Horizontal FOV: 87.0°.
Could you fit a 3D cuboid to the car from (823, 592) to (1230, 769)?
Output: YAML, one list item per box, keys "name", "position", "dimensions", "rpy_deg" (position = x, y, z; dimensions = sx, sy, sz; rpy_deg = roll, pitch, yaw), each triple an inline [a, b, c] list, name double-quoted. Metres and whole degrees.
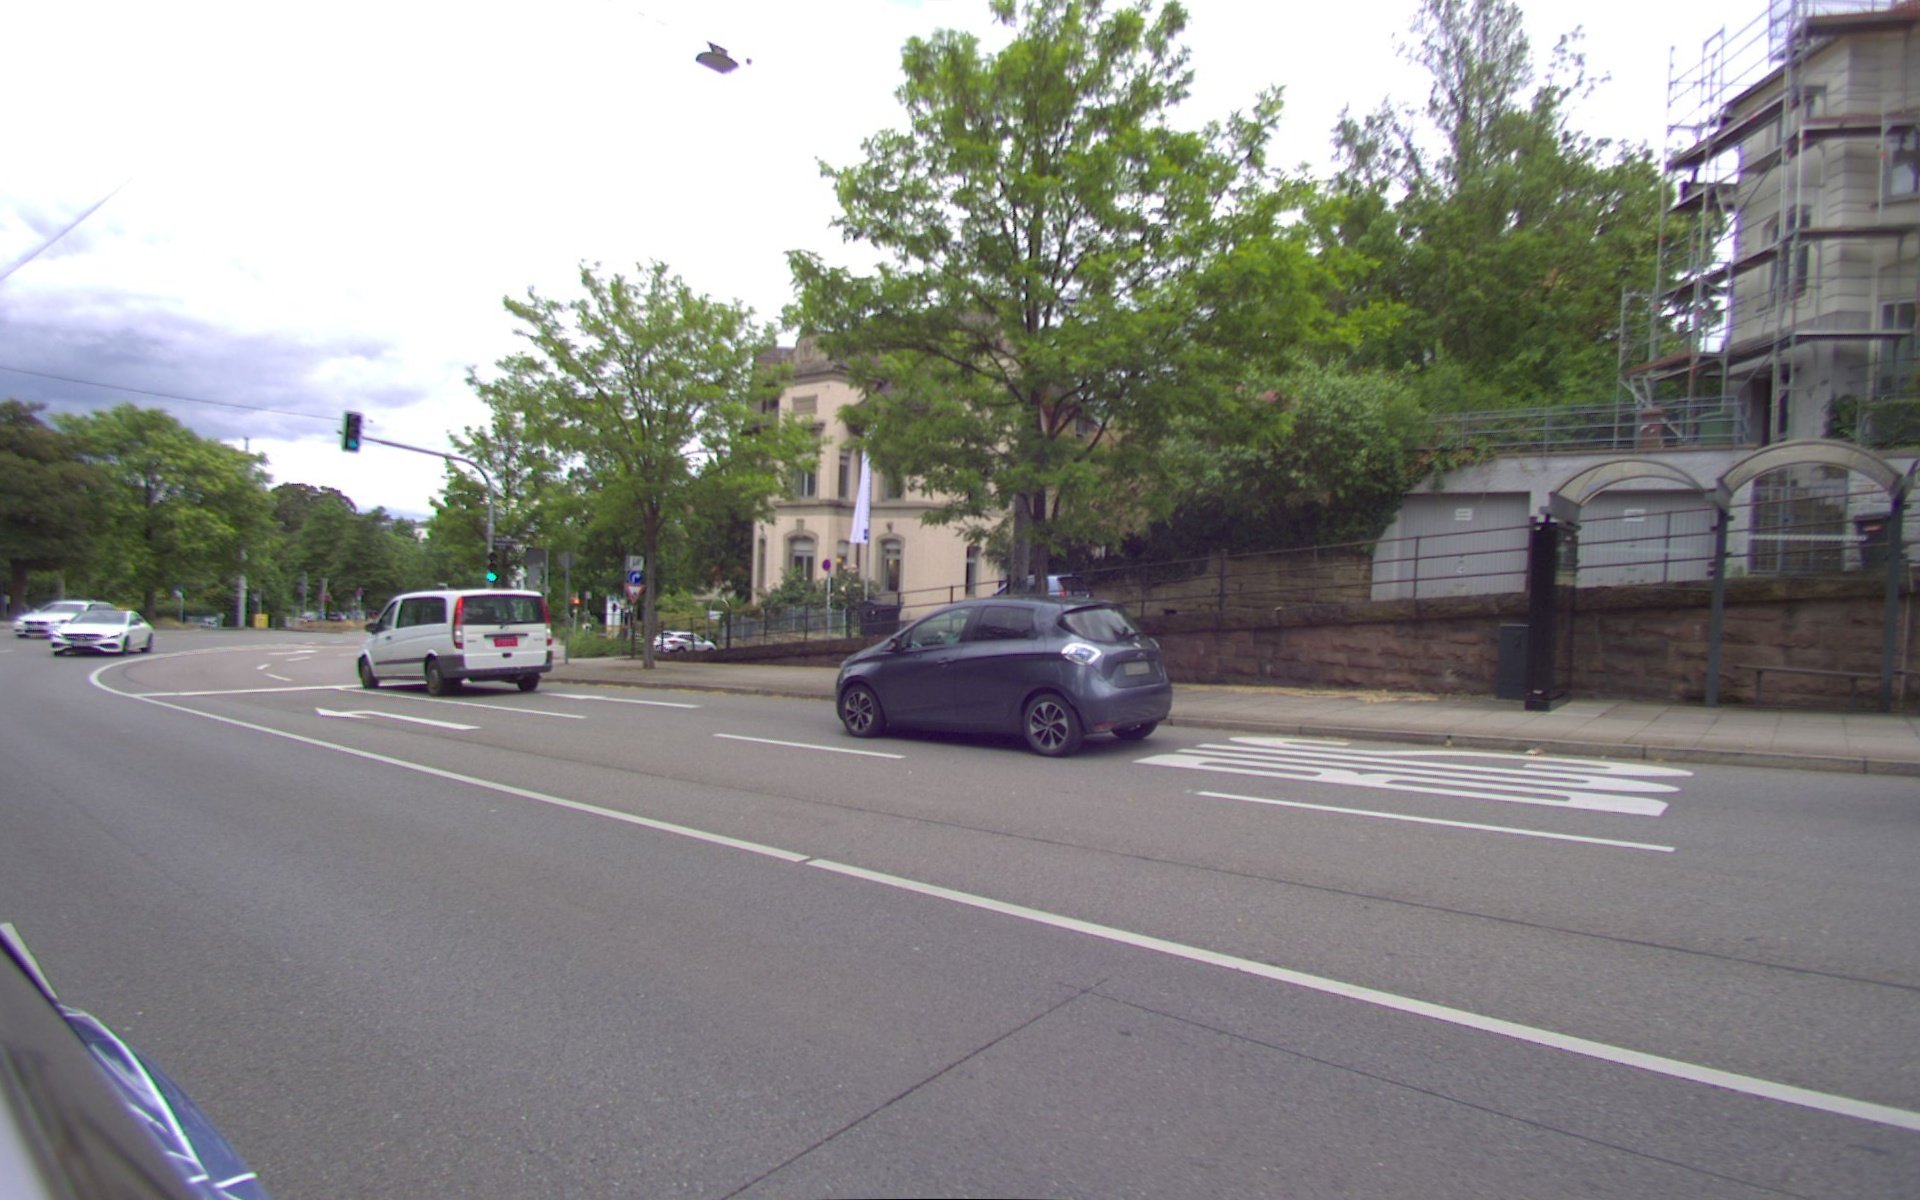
- name: "car"
  position: [0.601, 0.724, 10.902]
  dimensions: [3.989, 1.532, 1.973]
  rpy_deg: [-1, 0, 41]

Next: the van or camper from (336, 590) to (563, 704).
- name: "van or camper"
  position: [-9.949, 0.818, 19.508]
  dimensions: [5.453, 1.910, 1.973]
  rpy_deg: [-1, -1, 40]

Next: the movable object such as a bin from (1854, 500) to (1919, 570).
- name: "movable object such as a bin"
  position: [15.527, -1.070, 16.846]
  dimensions: [0.837, 1.050, 0.798]
  rpy_deg: [-2, -4, 36]

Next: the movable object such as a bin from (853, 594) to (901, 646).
- name: "movable object such as a bin"
  position: [-2.870, 0.674, 34.943]
  dimensions: [1.199, 1.696, 0.999]
  rpy_deg: [-4, 1, -34]

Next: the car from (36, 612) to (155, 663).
- name: "car"
  position: [-27.177, 1.151, 31.992]
  dimensions: [1.966, 1.409, 4.243]
  rpy_deg: [4, -2, -29]

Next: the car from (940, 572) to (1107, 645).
- name: "car"
  position: [1.606, 0.251, 26.511]
  dimensions: [1.971, 1.586, 4.002]
  rpy_deg: [-2, -3, -45]

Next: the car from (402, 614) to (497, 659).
- name: "car"
  position: [-22.110, 1.610, 44.075]
  dimensions: [1.874, 1.805, 4.762]
  rpy_deg: [2, -3, -3]

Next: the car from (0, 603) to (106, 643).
- name: "car"
  position: [-35.654, 0.922, 39.882]
  dimensions: [1.864, 1.475, 4.013]
  rpy_deg: [2, -2, -22]

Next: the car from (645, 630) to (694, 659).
- name: "car"
  position: [-17.801, 2.713, 62.184]
  dimensions: [1.874, 1.667, 4.378]
  rpy_deg: [2, -3, -3]

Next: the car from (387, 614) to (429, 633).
- name: "car"
  position: [-60.772, 2.642, 111.490]
  dimensions: [1.973, 1.918, 4.712]
  rpy_deg: [2, -3, 2]

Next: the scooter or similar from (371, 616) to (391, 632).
- name: "scooter or similar"
  position: [-48.392, 1.995, 84.577]
  dimensions: [1.298, 1.257, 0.465]
  rpy_deg: [4, -4, -38]
